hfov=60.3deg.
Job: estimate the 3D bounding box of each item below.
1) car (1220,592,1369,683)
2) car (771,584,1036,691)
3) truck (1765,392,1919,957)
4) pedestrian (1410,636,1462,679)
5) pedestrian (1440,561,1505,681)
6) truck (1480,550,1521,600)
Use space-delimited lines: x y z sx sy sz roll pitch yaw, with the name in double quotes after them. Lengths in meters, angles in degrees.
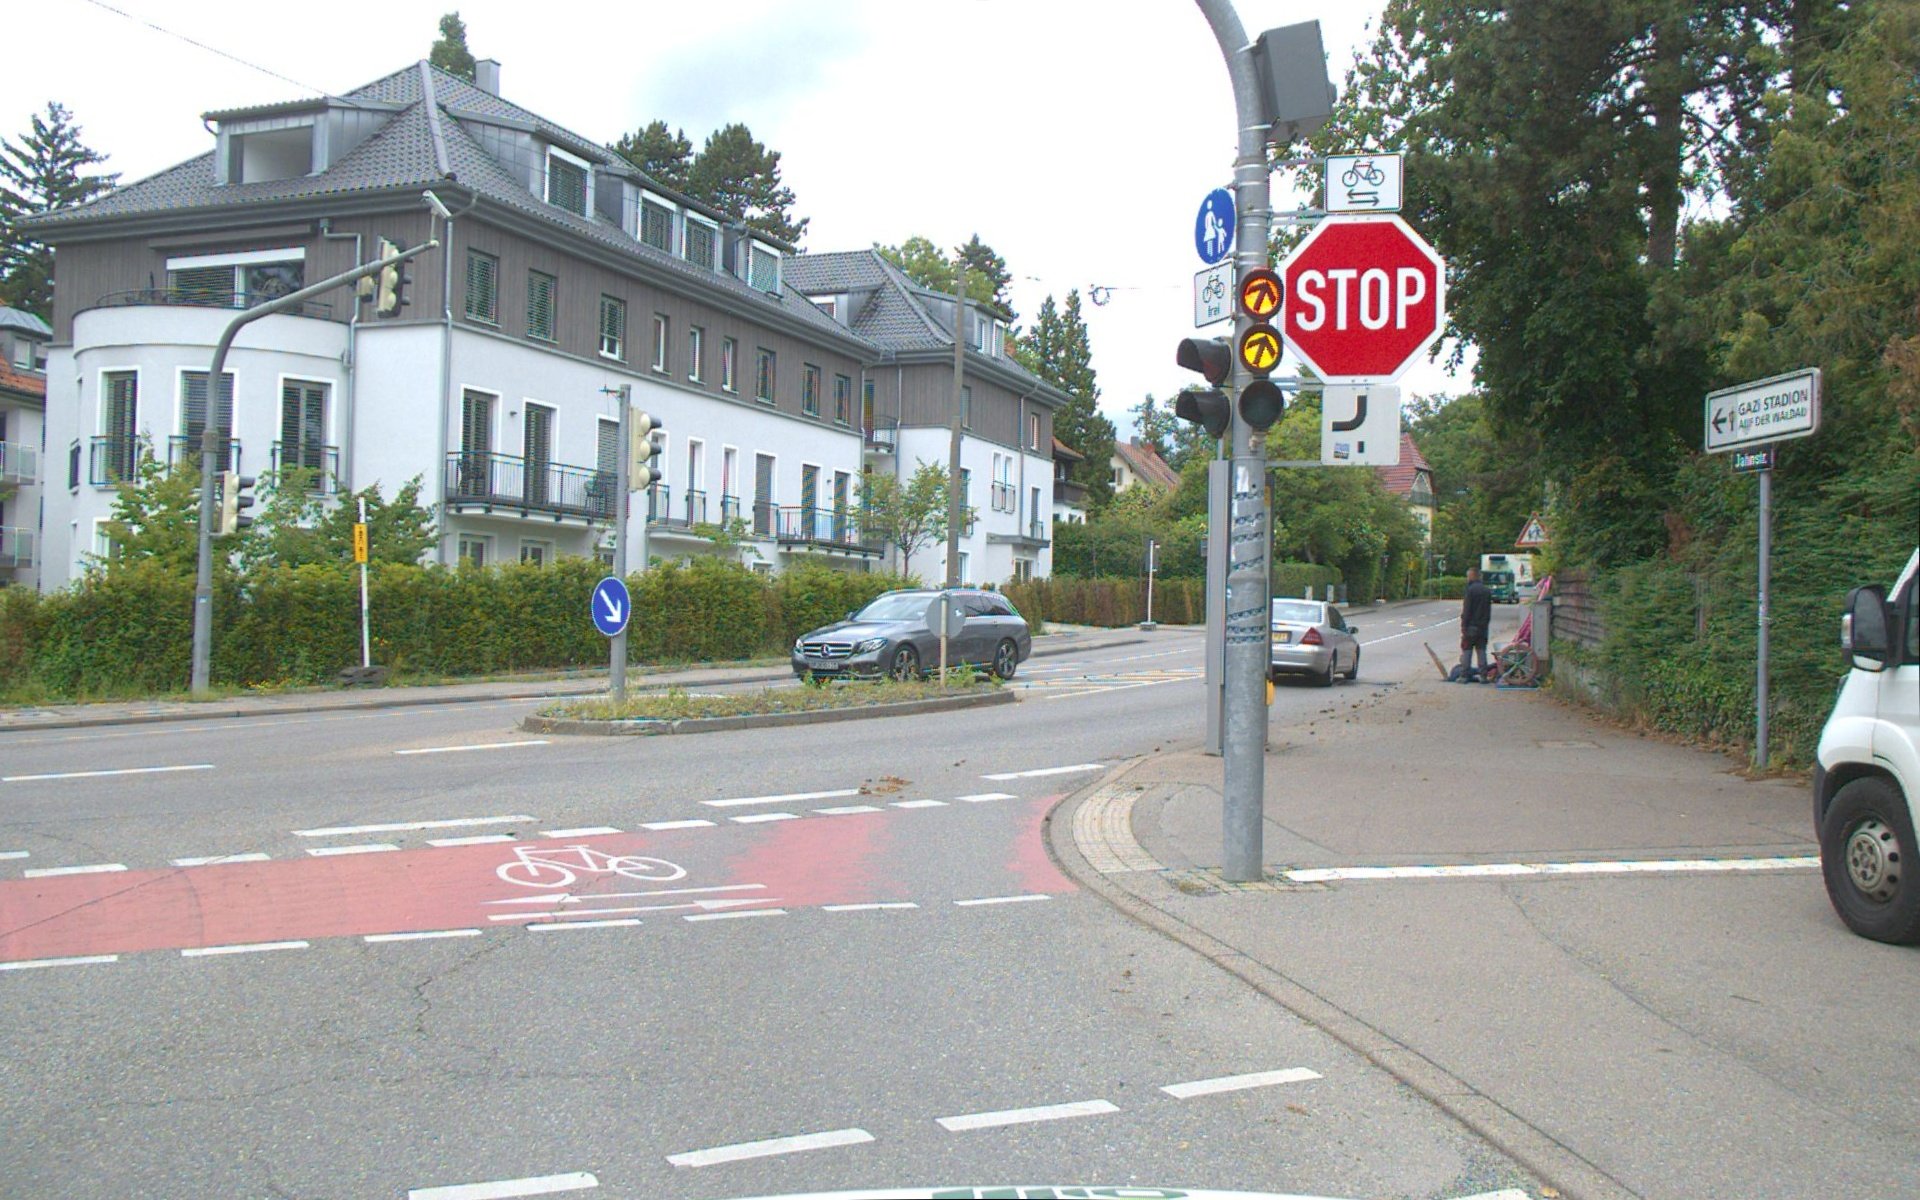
5.938 0.626 28.989 1.760 1.439 4.335 1 0 22 "car"
-0.766 0.515 26.071 1.793 1.511 4.734 0 1 33 "car"
5.213 0.324 5.283 2.347 2.393 6.189 1 0 1 "truck"
8.210 0.980 28.524 0.635 0.709 0.582 0 1 -20 "pedestrian"
8.507 0.340 27.468 0.828 1.957 0.801 1 1 1 "pedestrian"
40.325 -1.825 123.386 2.719 3.522 7.496 1 0 18 "truck"
